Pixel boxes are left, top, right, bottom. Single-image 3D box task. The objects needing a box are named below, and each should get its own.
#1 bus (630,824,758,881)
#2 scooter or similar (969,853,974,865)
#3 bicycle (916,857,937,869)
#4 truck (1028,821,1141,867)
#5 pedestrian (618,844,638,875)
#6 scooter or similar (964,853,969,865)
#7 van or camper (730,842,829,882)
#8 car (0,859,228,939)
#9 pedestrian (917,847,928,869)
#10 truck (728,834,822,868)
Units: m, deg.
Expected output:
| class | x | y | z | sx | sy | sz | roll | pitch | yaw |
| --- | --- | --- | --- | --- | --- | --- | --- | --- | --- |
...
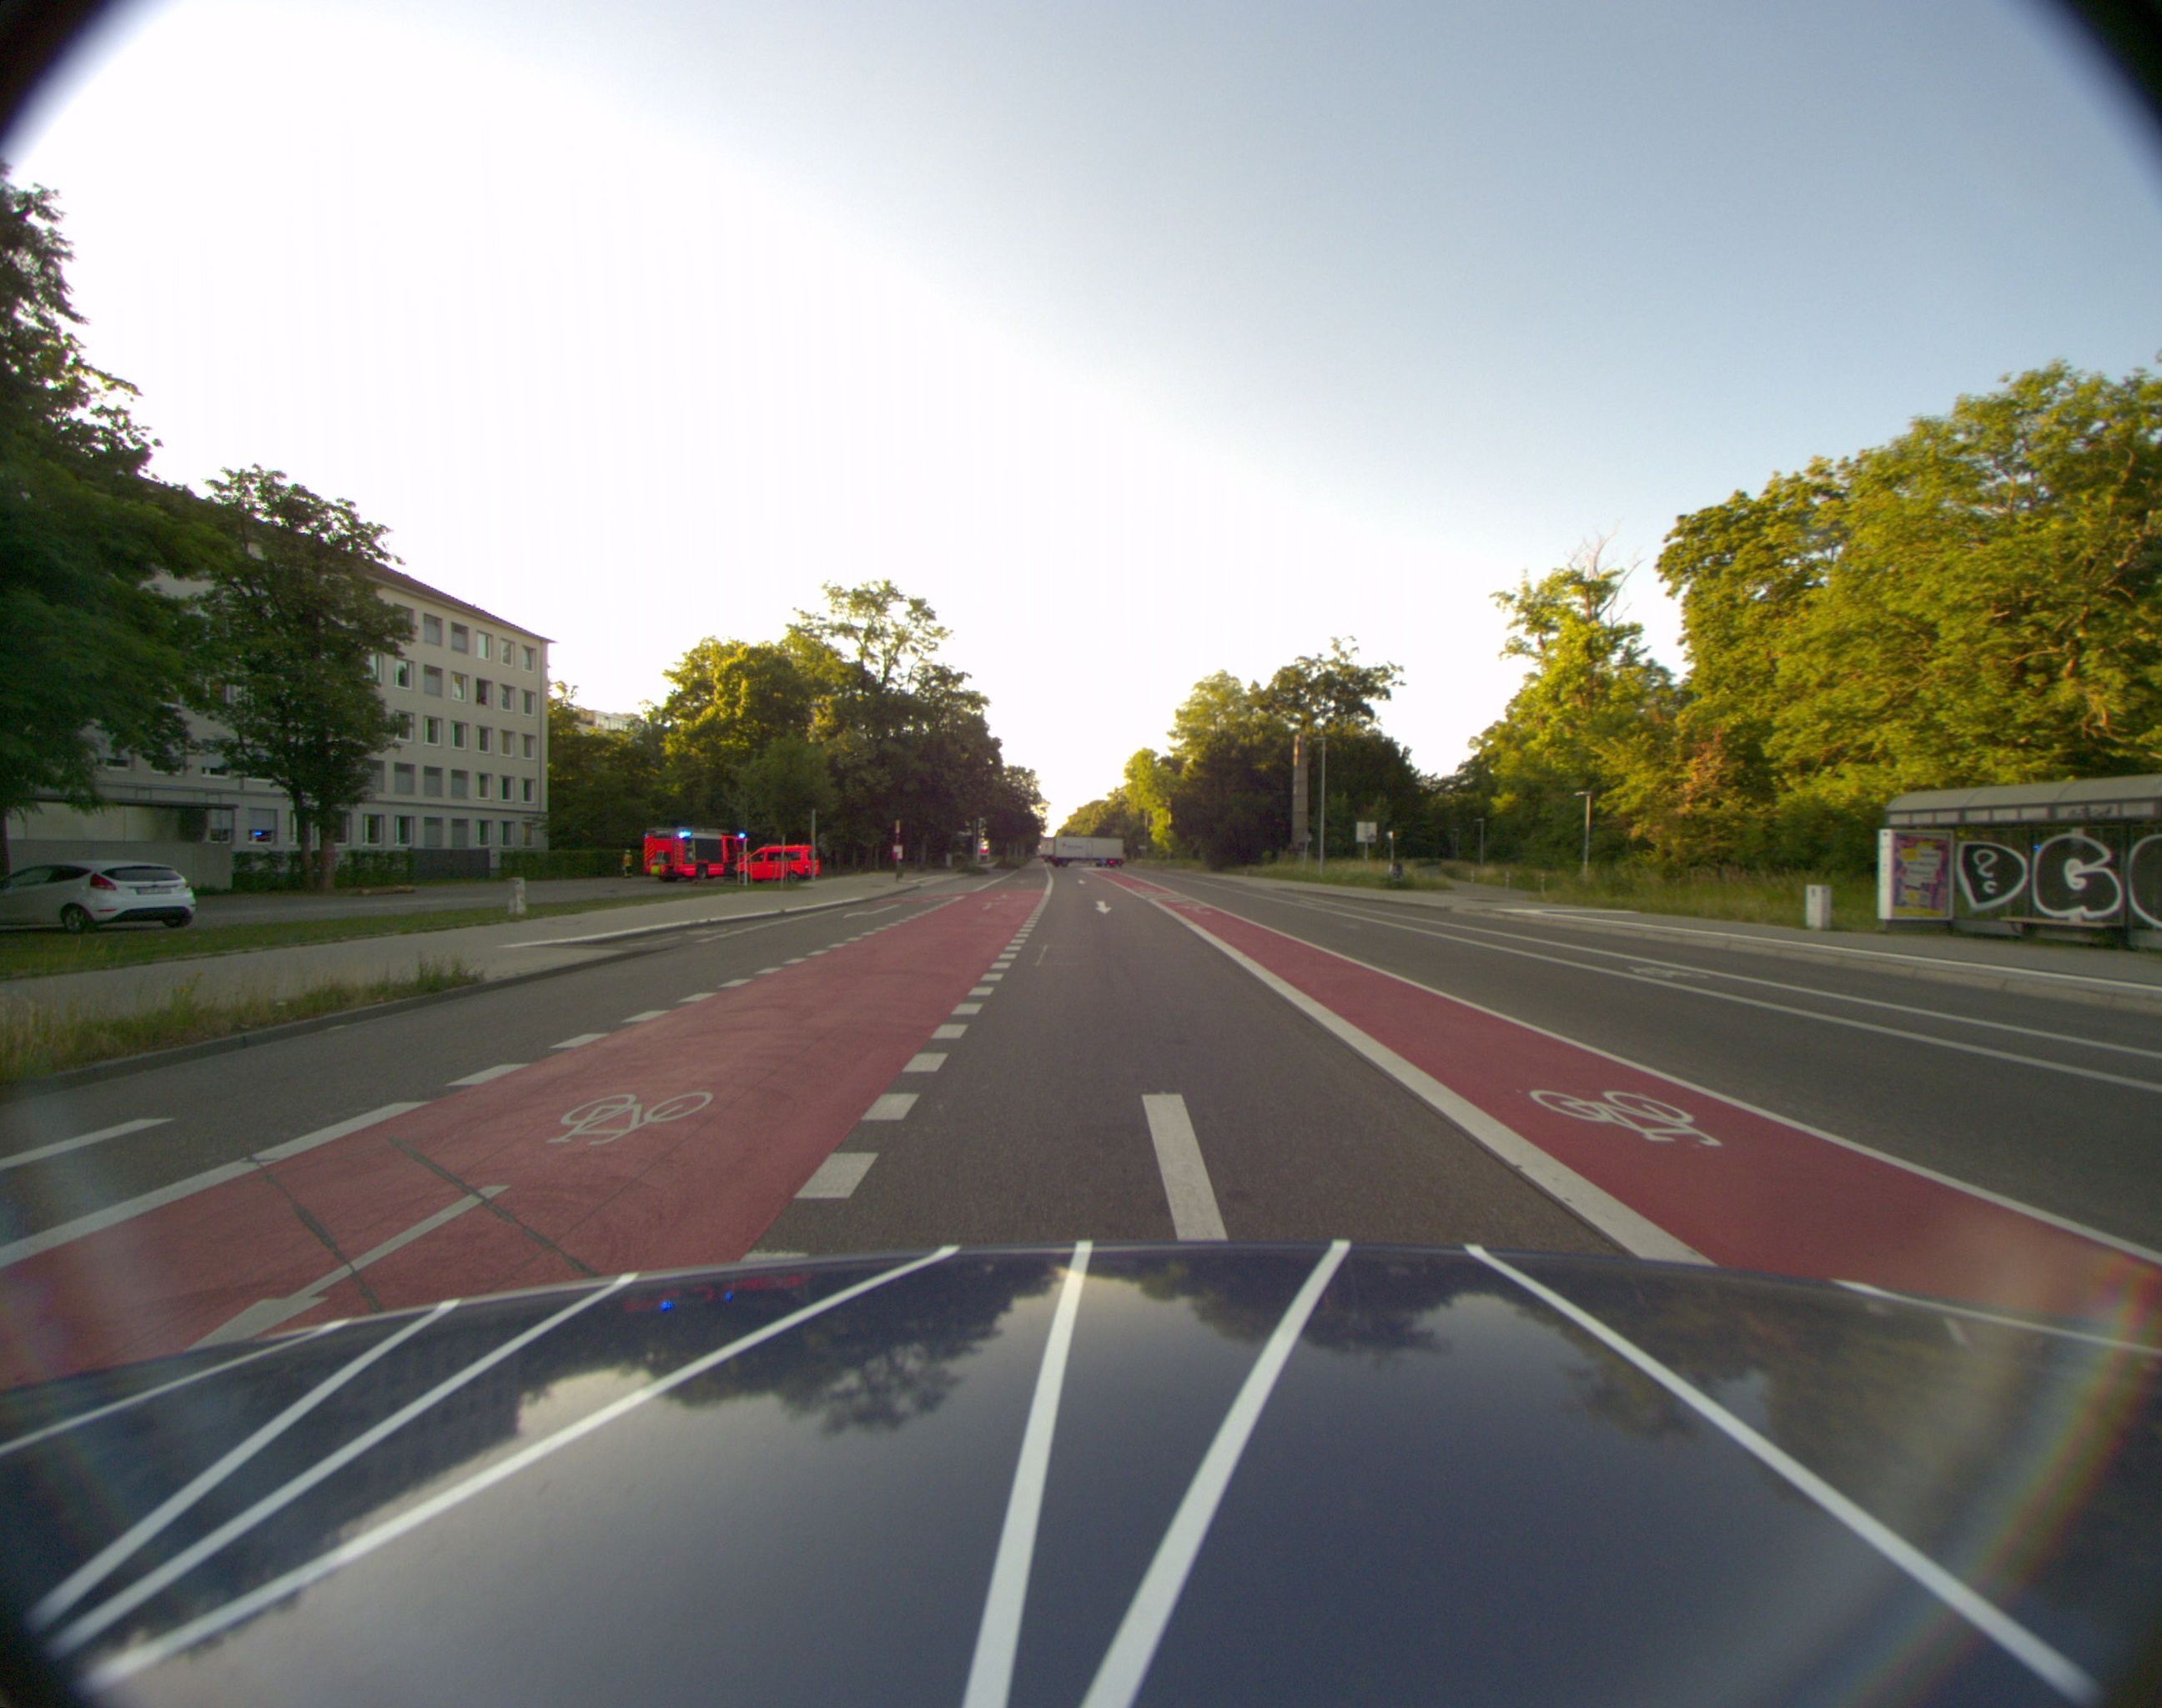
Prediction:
| class | x | y | z | sx | sy | sz | roll | pitch | yaw |
| --- | --- | --- | --- | --- | --- | --- | --- | --- | --- |
| bus | -23.742 | -0.121 | 47.247 | 2.993 | 3.177 | 7.968 | -1 | 1 | 8 |
| scooter or similar | -11.980 | 0.556 | 83.138 | 0.483 | 1.274 | 1.139 | 2 | 0 | -8 |
| bicycle | -14.195 | 0.810 | 69.663 | 1.963 | 1.091 | 0.835 | 1 | 1 | 39 |
| truck | 0.681 | -1.264 | 98.374 | 15.115 | 5.542 | 5.144 | 0 | 1 | -42 |
| pedestrian | -29.538 | 0.372 | 49.545 | 0.772 | 2.002 | 0.826 | 0 | 1 | 9 |
| scooter or similar | -12.223 | 0.556 | 81.163 | 0.483 | 1.274 | 1.230 | 2 | 0 | -8 |
| van or camper | -17.675 | 0.475 | 44.723 | 4.823 | 2.232 | 2.296 | -1 | 1 | 6 |
| car | -20.963 | 0.910 | 16.001 | 3.996 | 1.528 | 1.912 | -1 | 1 | 4 |
| pedestrian | -14.456 | 0.321 | 69.202 | 0.693 | 2.002 | 0.727 | 1 | 1 | 44 |
| truck | -29.843 | -0.289 | 74.128 | 8.645 | 3.192 | 2.765 | 0 | 1 | 17 |
